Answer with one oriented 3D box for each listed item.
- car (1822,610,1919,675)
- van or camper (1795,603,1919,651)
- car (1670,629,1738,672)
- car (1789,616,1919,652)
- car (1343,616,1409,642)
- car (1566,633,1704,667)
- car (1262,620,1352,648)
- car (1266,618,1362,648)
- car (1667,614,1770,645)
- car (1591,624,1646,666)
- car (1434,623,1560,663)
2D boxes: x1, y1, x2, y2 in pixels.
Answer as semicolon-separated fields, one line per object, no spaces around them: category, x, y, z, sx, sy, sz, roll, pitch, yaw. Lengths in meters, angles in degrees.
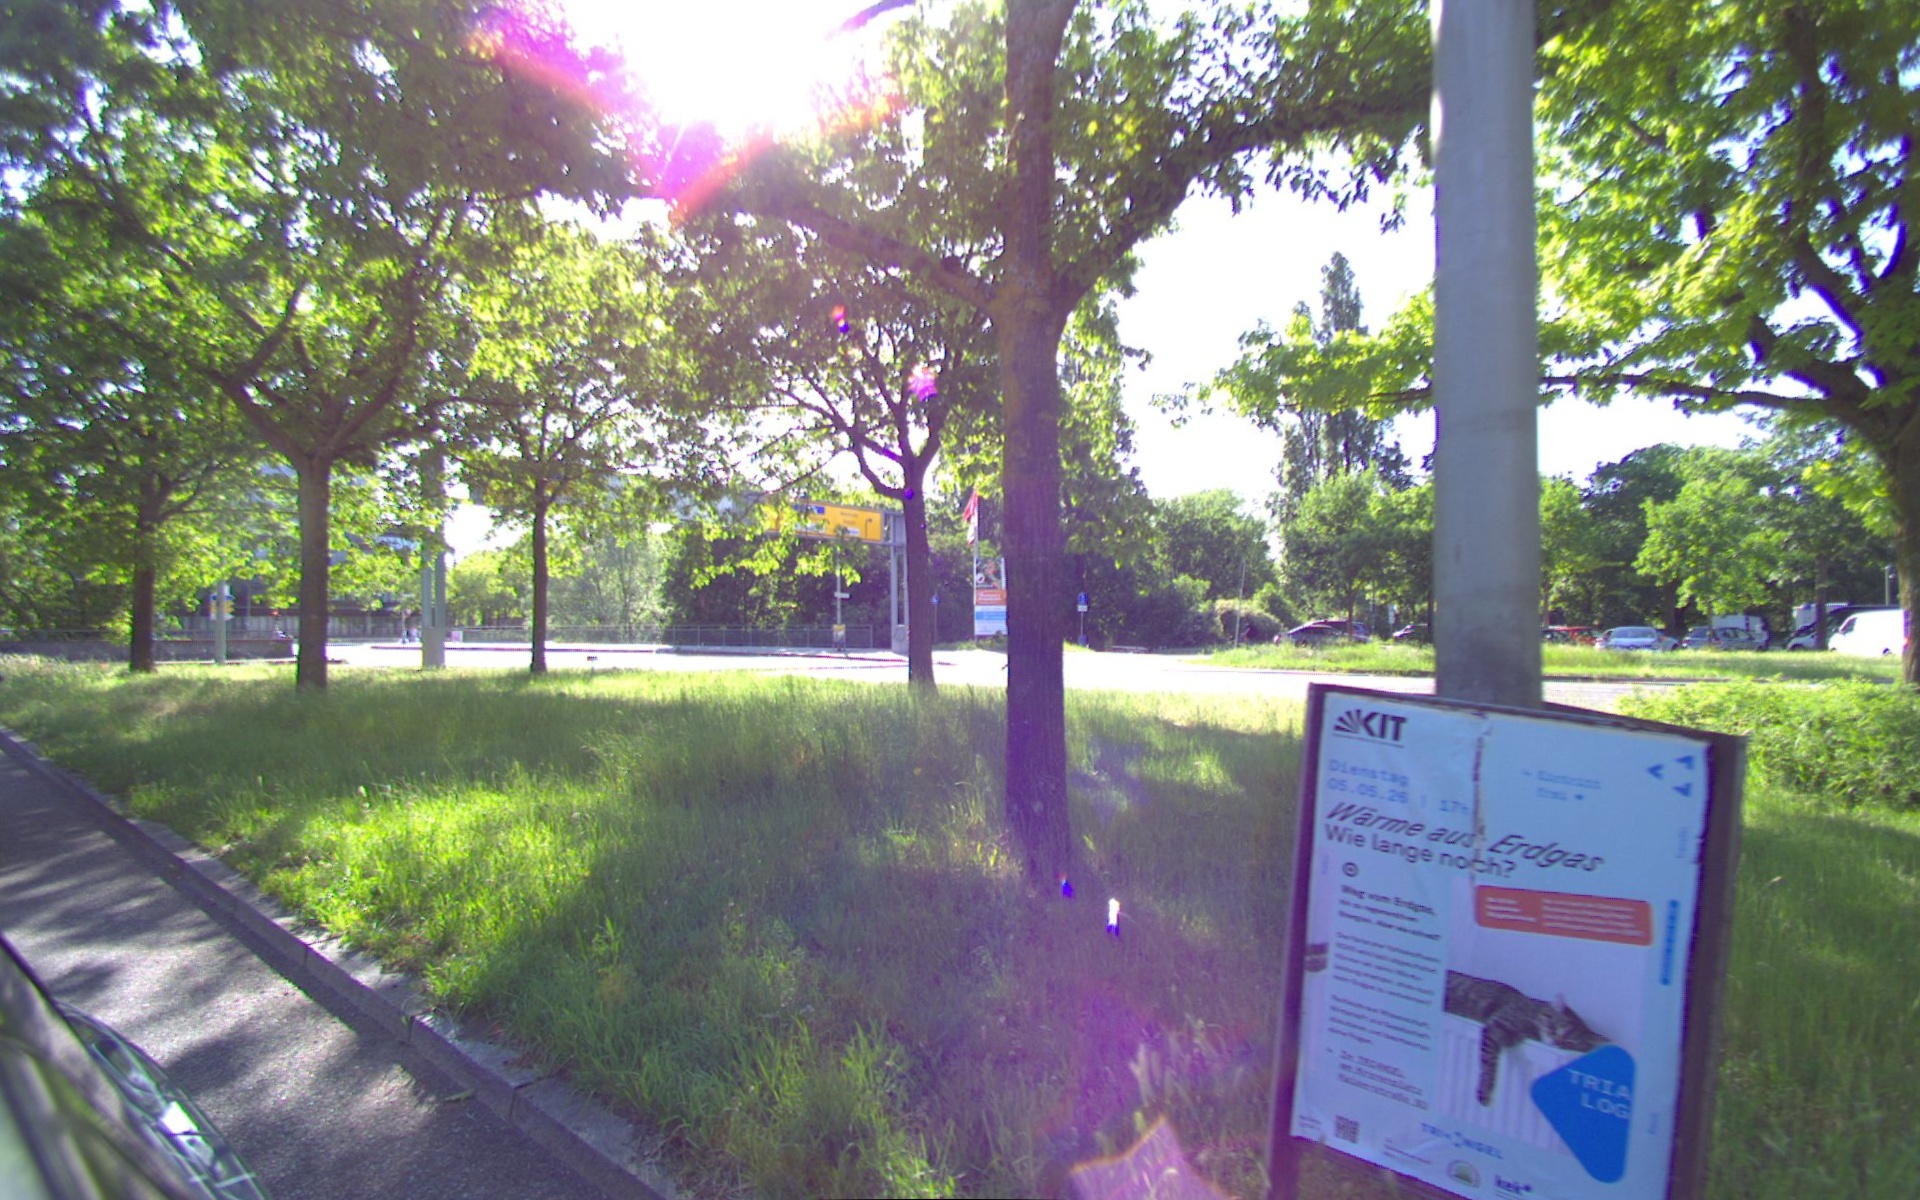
car;31.528;1.352;33.791;2.219;2.029;4.974;-1;-1;15
van or camper;41.828;1.236;46.872;1.966;2.112;4.414;0;-1;-32
car;33.219;2.210;45.143;3.826;1.618;1.656;-3;1;-42
car;39.975;1.507;45.268;1.936;1.484;4.011;-2;0;-33
car;30.332;2.094;73.851;4.126;1.814;1.976;-1;-2;35
car;24.079;1.751;36.214;3.990;1.137;1.801;-1;-1;35
car;19.380;1.894;56.766;4.509;1.475;1.993;-1;0;12
car;18.518;1.736;53.177;4.509;1.475;1.993;-1;0;12
car;40.110;1.576;53.565;1.969;1.521;4.005;1;-3;-41
car;30.542;2.053;46.880;1.653;1.618;3.834;-2;1;40
car;20.988;1.643;39.676;1.791;1.459;4.012;0;-1;-30
